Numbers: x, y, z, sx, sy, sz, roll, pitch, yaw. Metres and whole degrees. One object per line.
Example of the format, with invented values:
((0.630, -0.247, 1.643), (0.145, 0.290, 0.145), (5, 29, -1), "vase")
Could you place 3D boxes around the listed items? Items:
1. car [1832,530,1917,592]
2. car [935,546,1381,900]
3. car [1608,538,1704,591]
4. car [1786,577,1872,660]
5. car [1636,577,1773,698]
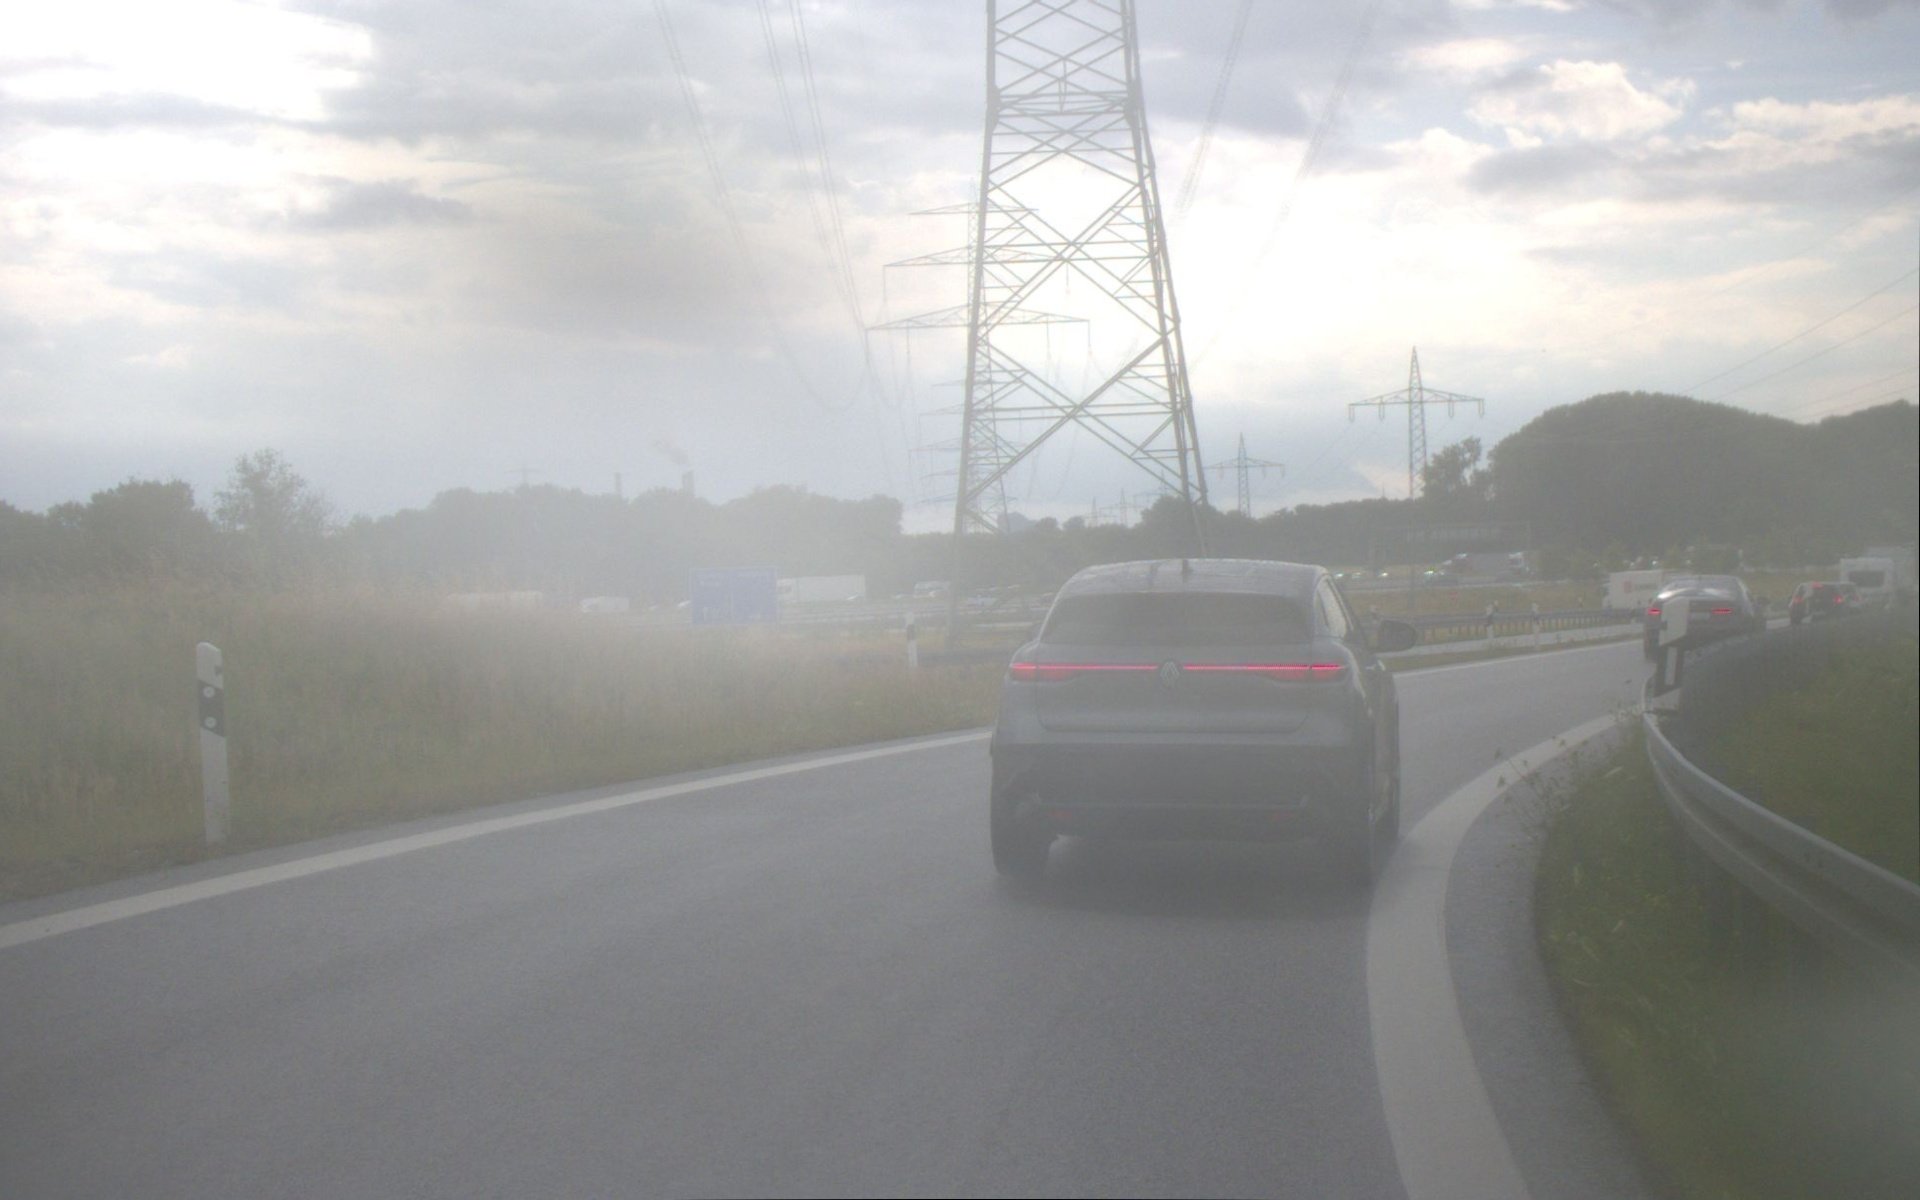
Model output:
((47.879, -2.070, 180.086), (3.136, 2.941, 7.208), (-2, 2, 6), "car")
((1.091, 0.521, 17.638), (1.994, 1.561, 4.148), (1, 1, 6), "car")
((49.790, -2.520, 246.178), (3.382, 3.598, 9.047), (-2, 0, -11), "car")
((27.439, 0.557, 108.458), (2.353, 2.299, 5.125), (-2, 2, 17), "car")
((13.438, 0.632, 61.834), (2.122, 2.011, 5.531), (-2, 0, 14), "car")
